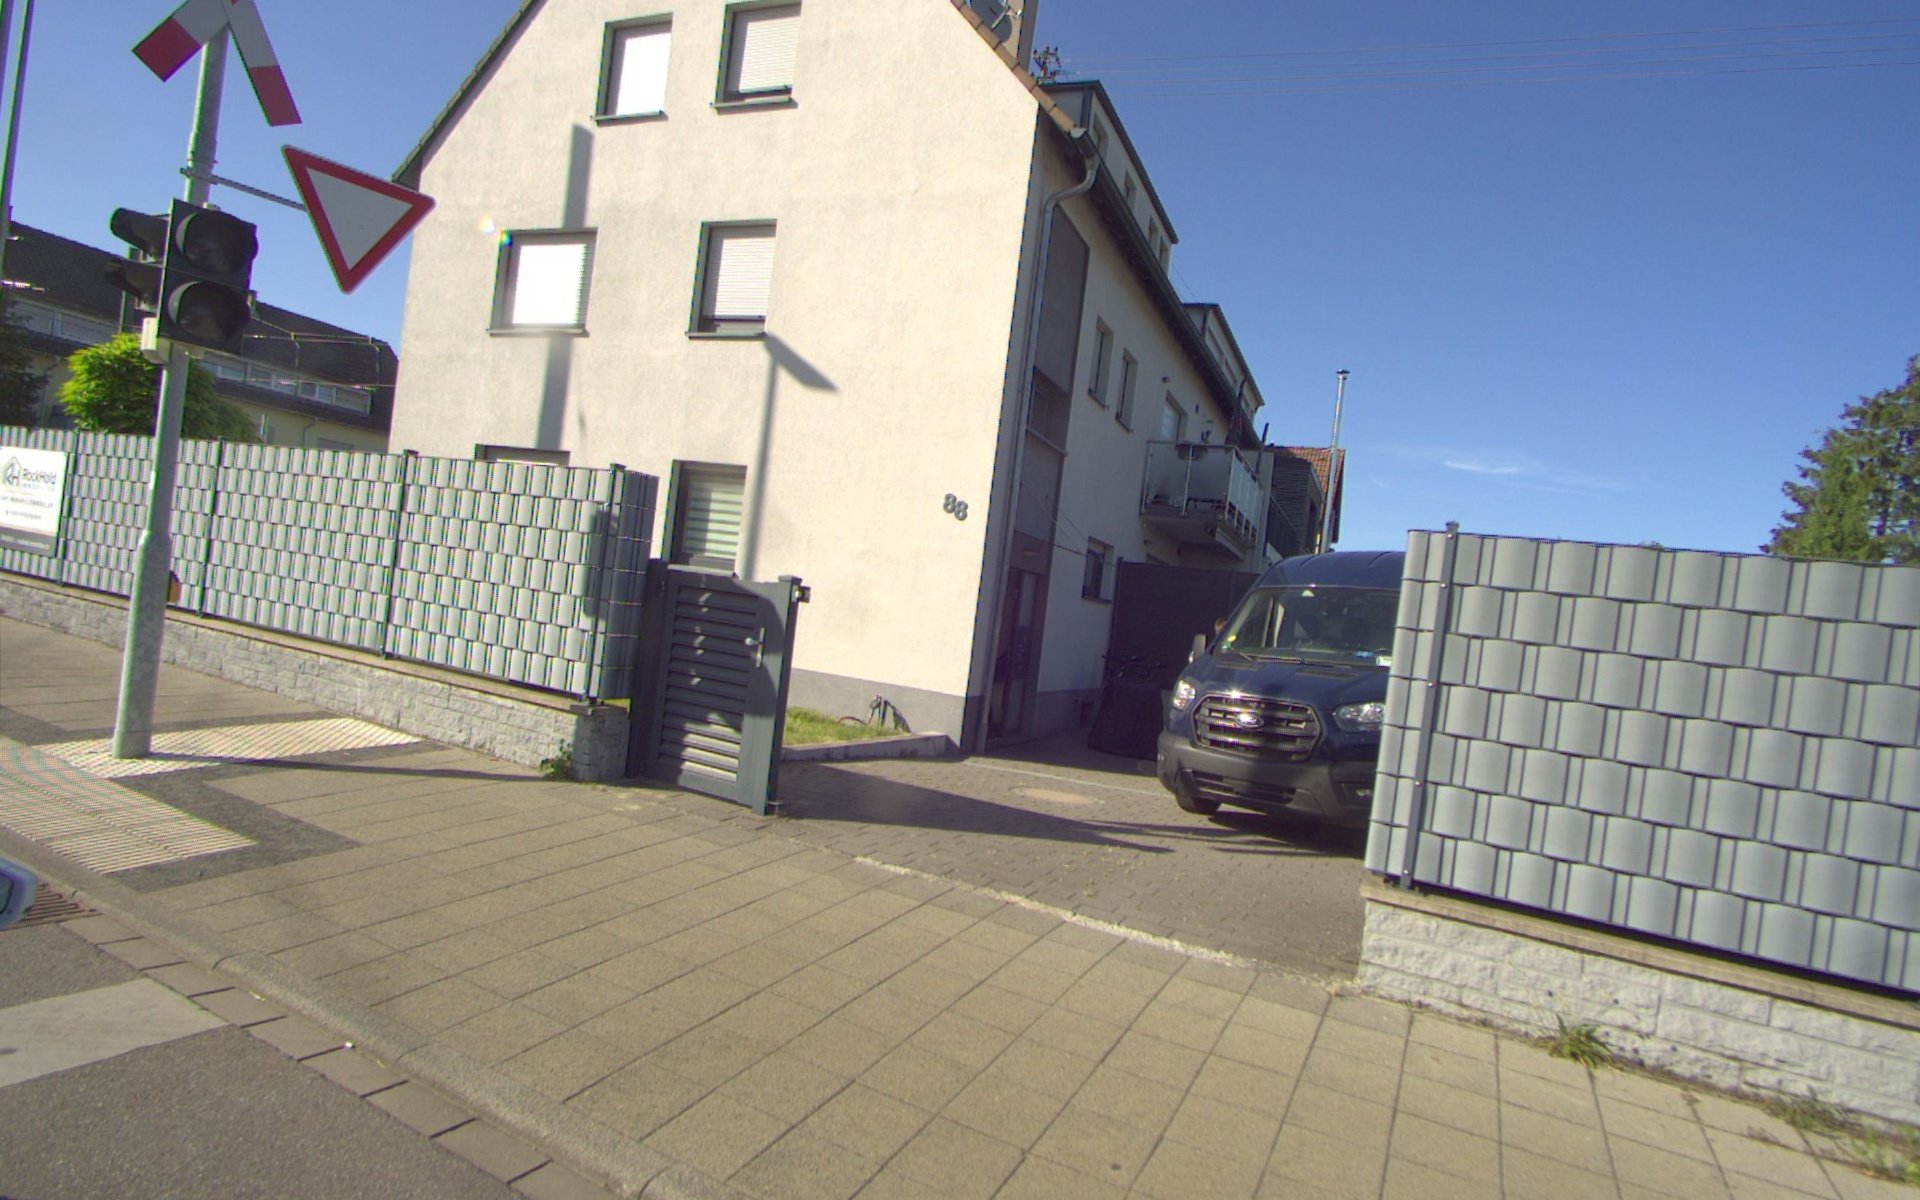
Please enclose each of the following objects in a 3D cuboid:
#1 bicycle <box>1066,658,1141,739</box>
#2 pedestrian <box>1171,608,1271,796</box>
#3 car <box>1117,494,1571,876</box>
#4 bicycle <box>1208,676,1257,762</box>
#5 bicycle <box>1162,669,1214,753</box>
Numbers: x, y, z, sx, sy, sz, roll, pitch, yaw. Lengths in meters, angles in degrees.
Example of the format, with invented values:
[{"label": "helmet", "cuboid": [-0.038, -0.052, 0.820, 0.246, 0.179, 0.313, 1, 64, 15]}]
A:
[{"label": "bicycle", "cuboid": [2.165, 1.464, 14.997, 0.533, 1.073, 1.817, 7, -2, 23]}, {"label": "pedestrian", "cuboid": [2.687, 1.040, 10.363, 0.552, 1.836, 0.667, 8, -4, -44]}, {"label": "car", "cuboid": [3.694, 0.719, 8.968, 1.973, 2.460, 4.969, 6, -2, 42]}, {"label": "bicycle", "cuboid": [3.866, 1.653, 14.203, 0.426, 1.073, 1.818, 7, -2, 19]}, {"label": "bicycle", "cuboid": [3.295, 1.575, 14.437, 0.405, 1.073, 1.818, 7, -2, 19]}]
